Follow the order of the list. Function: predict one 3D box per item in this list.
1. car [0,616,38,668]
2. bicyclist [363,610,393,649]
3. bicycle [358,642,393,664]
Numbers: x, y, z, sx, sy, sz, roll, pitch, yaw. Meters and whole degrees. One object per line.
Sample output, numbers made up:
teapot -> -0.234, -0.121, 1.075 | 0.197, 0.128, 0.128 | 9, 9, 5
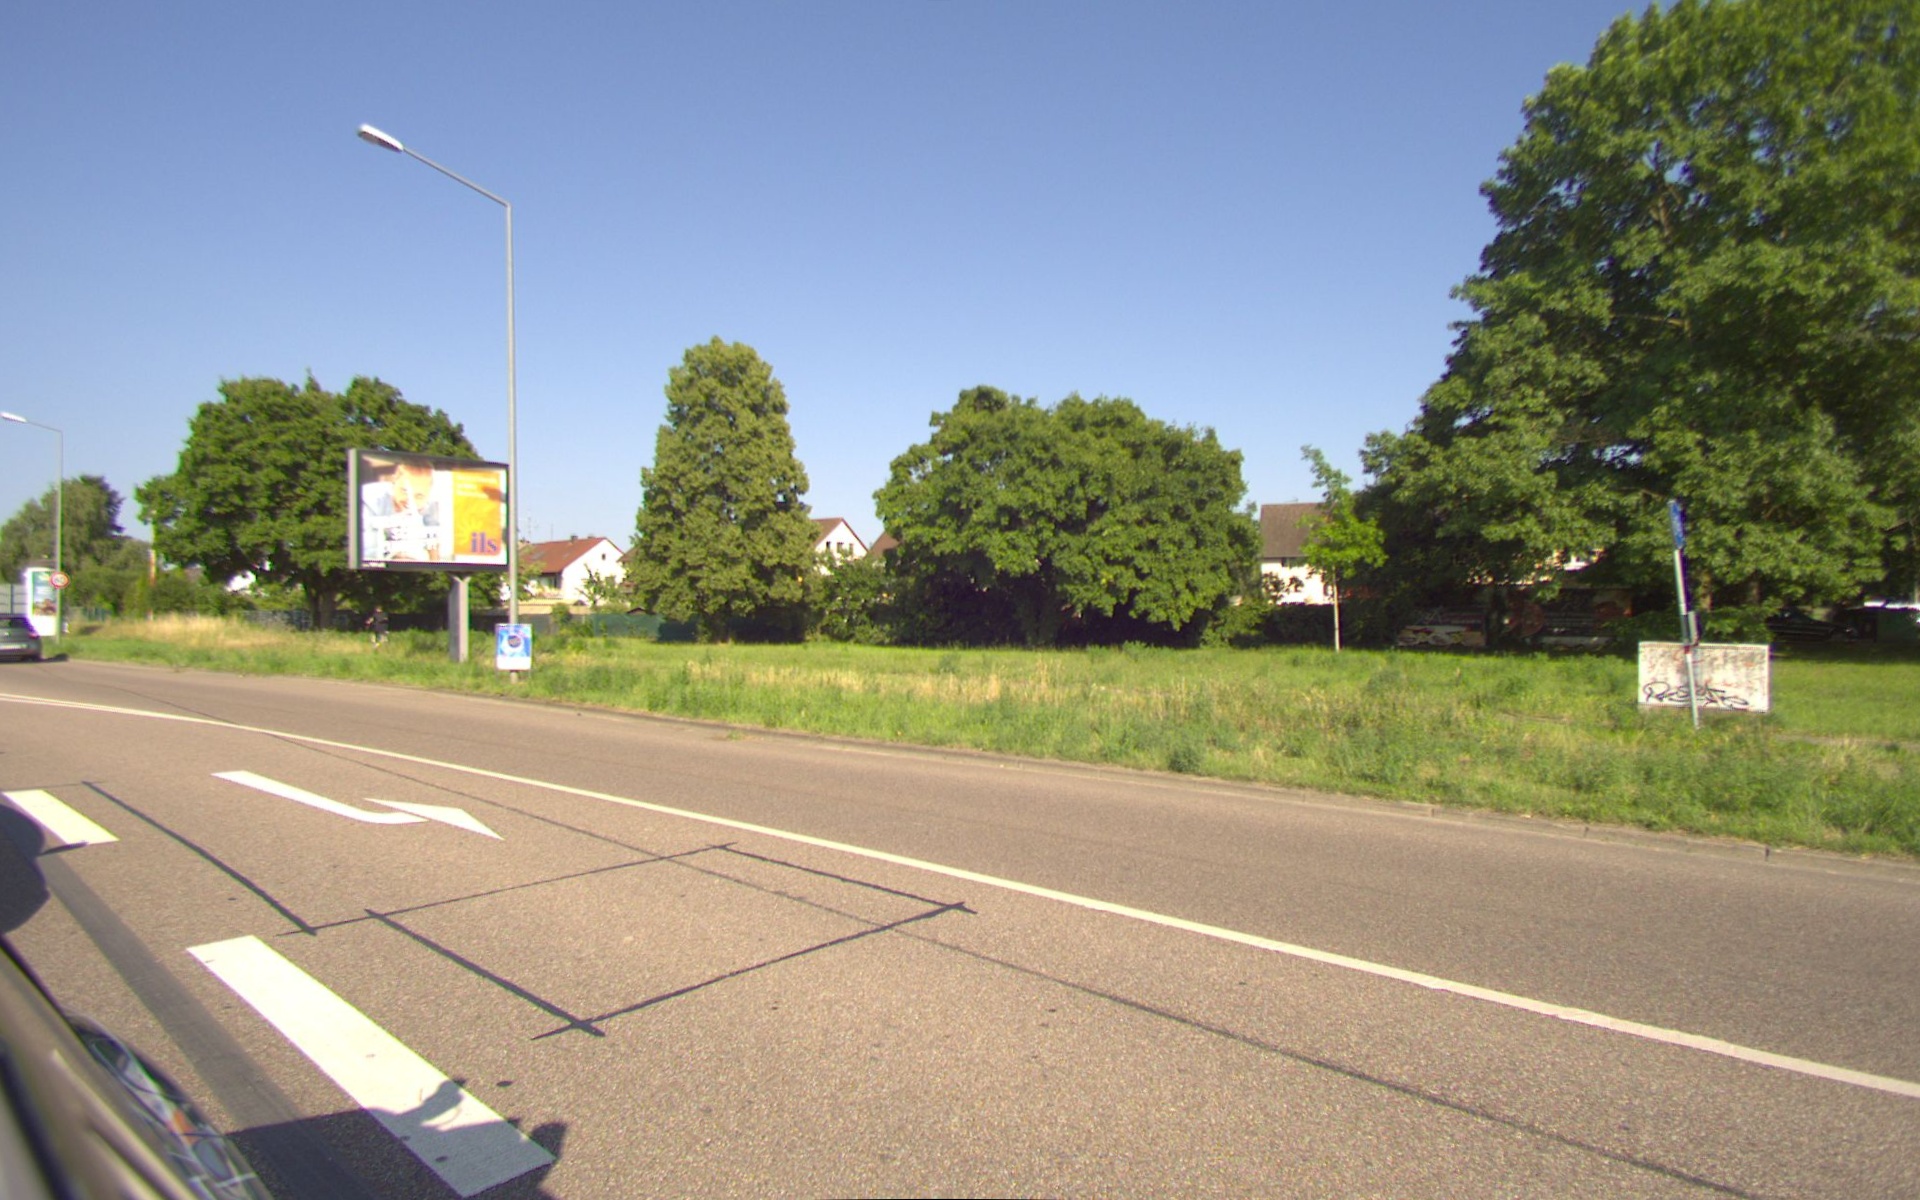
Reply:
car -> -30.094, 1.271, 31.469 | 3.673, 1.572, 1.616 | -1, -2, 40
bicyclist -> -21.962, 1.115, 38.174 | 1.070, 1.439, 0.631 | -1, -1, 37
bicycle -> -22.054, 1.985, 38.175 | 1.830, 0.759, 0.450 | -1, -1, 36
